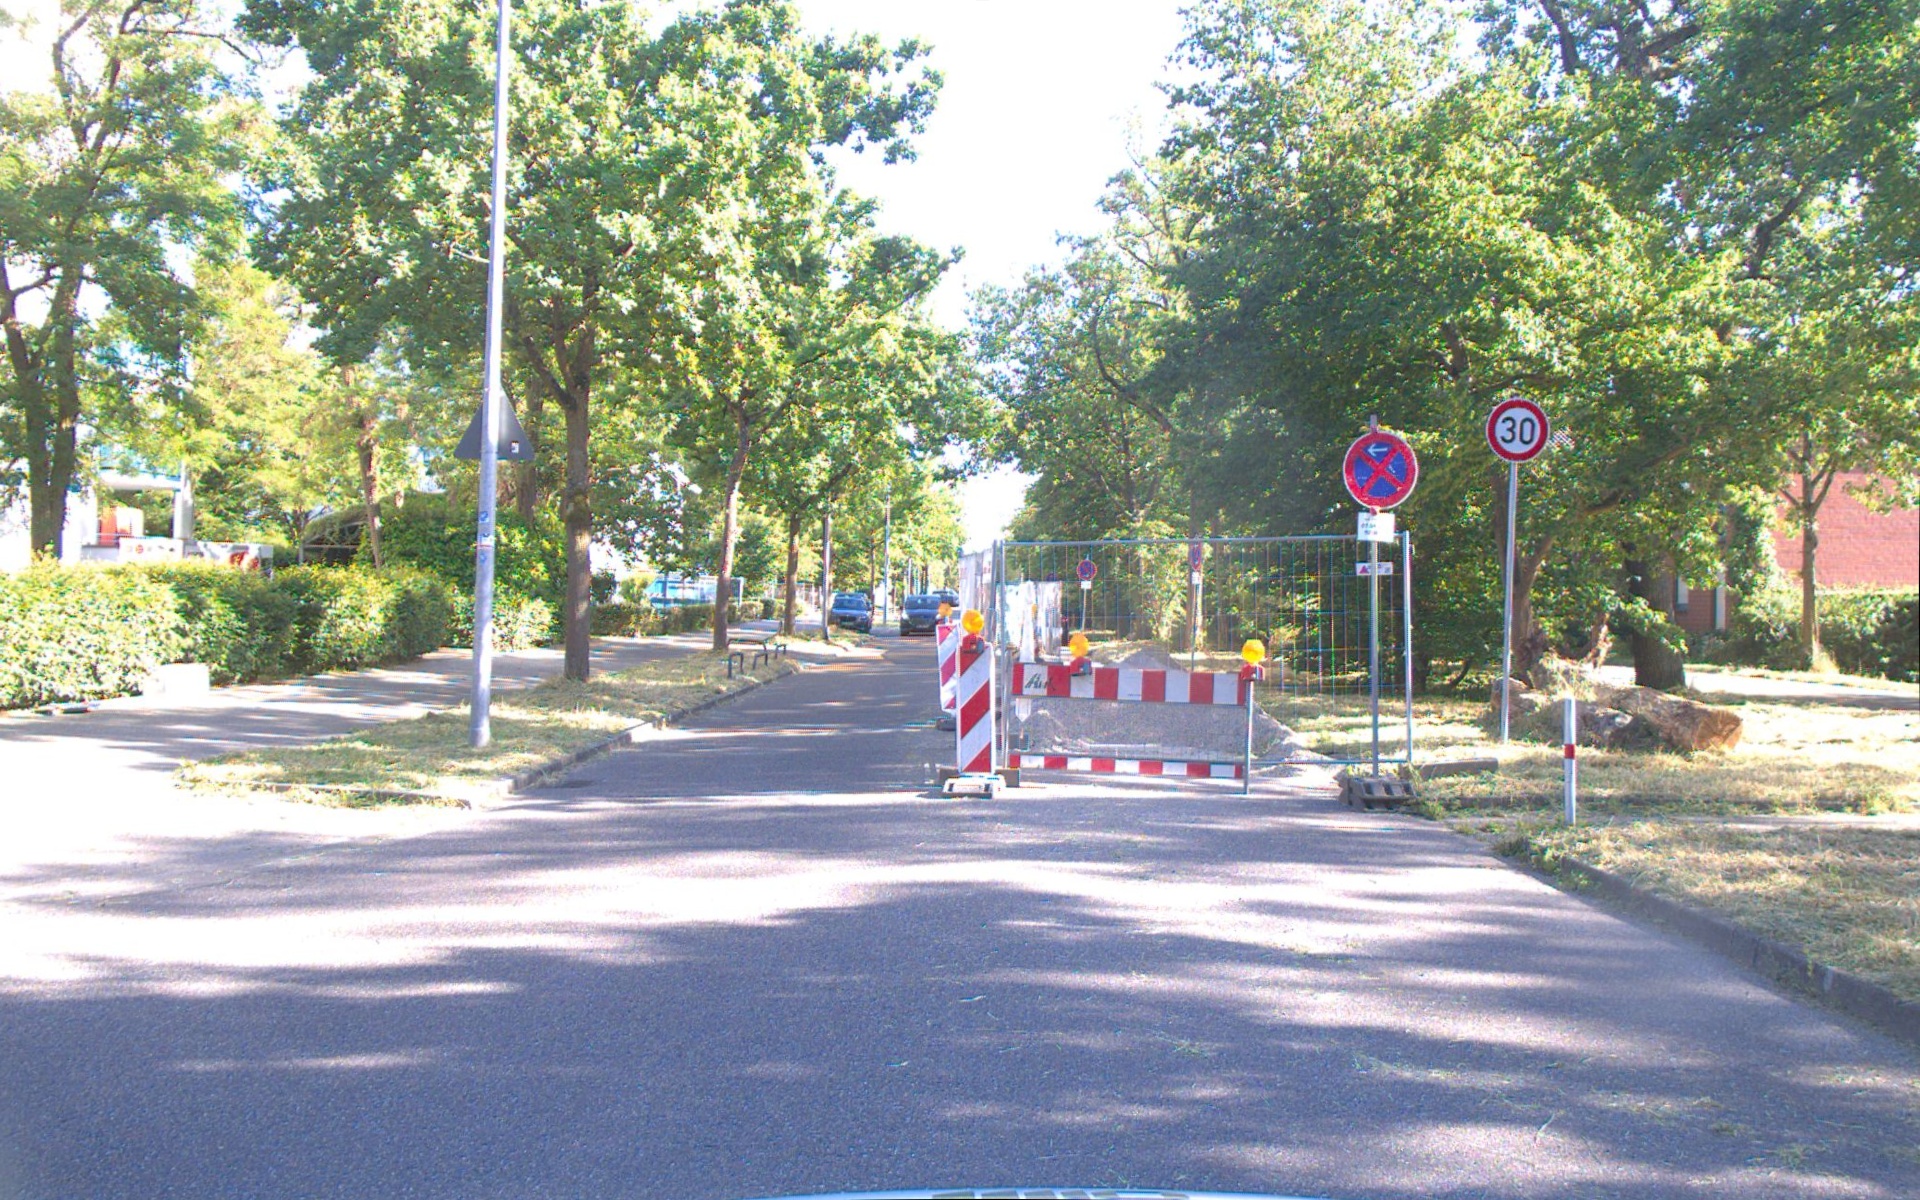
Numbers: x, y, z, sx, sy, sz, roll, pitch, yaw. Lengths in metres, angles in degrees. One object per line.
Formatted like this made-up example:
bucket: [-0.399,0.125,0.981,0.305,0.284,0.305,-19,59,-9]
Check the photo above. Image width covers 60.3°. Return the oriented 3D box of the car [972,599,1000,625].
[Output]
car: [1.419,0.657,90.611,1.334,1.325,3.480,2,-1,-2]

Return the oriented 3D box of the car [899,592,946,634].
car: [-1.493,0.511,67.895,1.784,1.653,4.492,-1,0,0]

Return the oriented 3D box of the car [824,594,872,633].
car: [-4.577,0.530,67.854,1.715,1.504,3.836,1,0,-1]

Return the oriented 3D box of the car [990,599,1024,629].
car: [2.188,0.665,77.642,1.334,1.325,3.480,2,-1,-2]

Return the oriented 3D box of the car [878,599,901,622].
car: [-4.368,0.666,103.172,1.334,1.325,3.480,2,-1,-2]

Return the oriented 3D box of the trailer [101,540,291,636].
trailer: [-17.713,-0.273,38.616,1.934,2.078,4.433,1,0,7]
